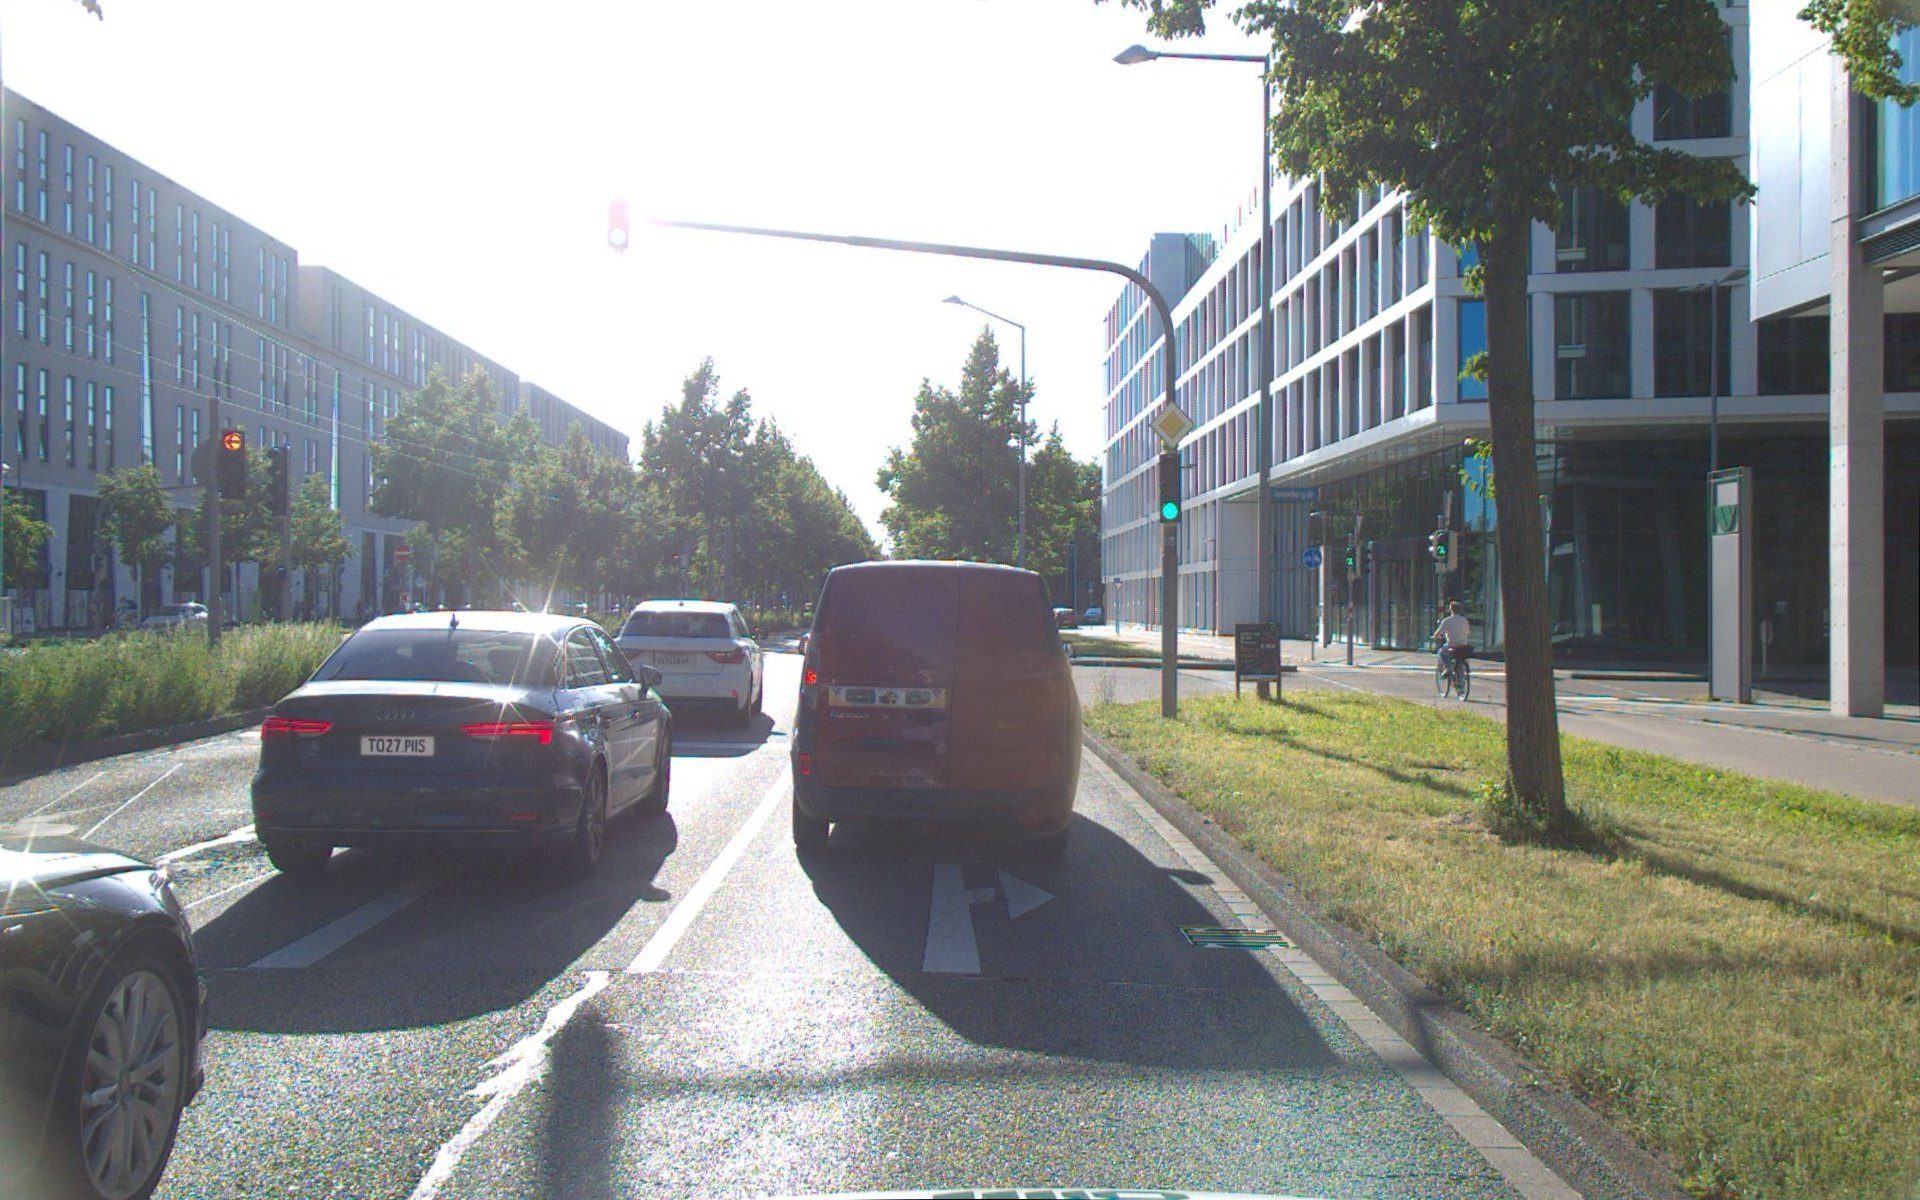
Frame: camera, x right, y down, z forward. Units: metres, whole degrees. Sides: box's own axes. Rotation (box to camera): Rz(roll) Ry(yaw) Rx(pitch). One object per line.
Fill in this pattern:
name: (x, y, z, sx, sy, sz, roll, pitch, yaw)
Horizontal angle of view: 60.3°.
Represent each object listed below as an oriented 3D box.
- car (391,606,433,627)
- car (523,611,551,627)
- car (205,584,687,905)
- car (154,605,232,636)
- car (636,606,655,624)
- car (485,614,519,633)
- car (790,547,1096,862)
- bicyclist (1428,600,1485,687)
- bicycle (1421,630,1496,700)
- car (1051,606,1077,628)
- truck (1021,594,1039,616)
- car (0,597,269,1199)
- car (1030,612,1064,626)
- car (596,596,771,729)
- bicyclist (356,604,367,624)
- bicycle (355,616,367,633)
car: (-35.341, 1.053, 106.787, 1.548, 1.366, 3.711, 0, 0, -2)
car: (-37.098, 1.676, 145.068, 1.548, 1.366, 3.711, 0, 0, -2)
car: (-2.833, 0.702, 10.106, 1.771, 1.554, 4.111, 0, 0, -2)
car: (-34.391, 0.903, 74.281, 1.548, 1.366, 4.470, 0, 0, -2)
car: (-37.106, 1.730, 195.059, 1.694, 2.049, 3.997, 0, 0, -3)
car: (-36.665, 1.869, 132.430, 1.740, 1.555, 3.804, 0, 0, -2)
car: (-0.107, 0.611, 11.689, 1.771, 1.826, 4.112, 0, 0, 0)
bicyclist: (8.986, 0.773, 29.942, 0.756, 1.558, 0.849, 0, 0, -1)
bicycle: (8.967, 1.153, 29.823, 0.726, 1.194, 1.961, 0, 0, -1)
car: (7.810, 1.277, 124.475, 1.722, 1.640, 3.903, 0, 0, 0)
truck: (8.254, 0.558, 195.354, 1.795, 2.545, 5.930, 1, -1, -2)
car: (-2.717, 0.731, 2.207, 1.771, 1.482, 4.507, 0, 0, -1)
car: (8.575, 1.851, 162.548, 3.327, 1.382, 1.472, 0, 0, 5)
car: (-3.272, 0.688, 20.273, 1.773, 1.460, 4.108, 0, 0, -5)
bicyclist: (-40.767, 0.970, 112.667, 0.568, 1.316, 0.703, 1, -1, -12)
bicycle: (-40.790, 1.639, 112.638, 0.518, 1.130, 1.634, 1, -1, -10)
